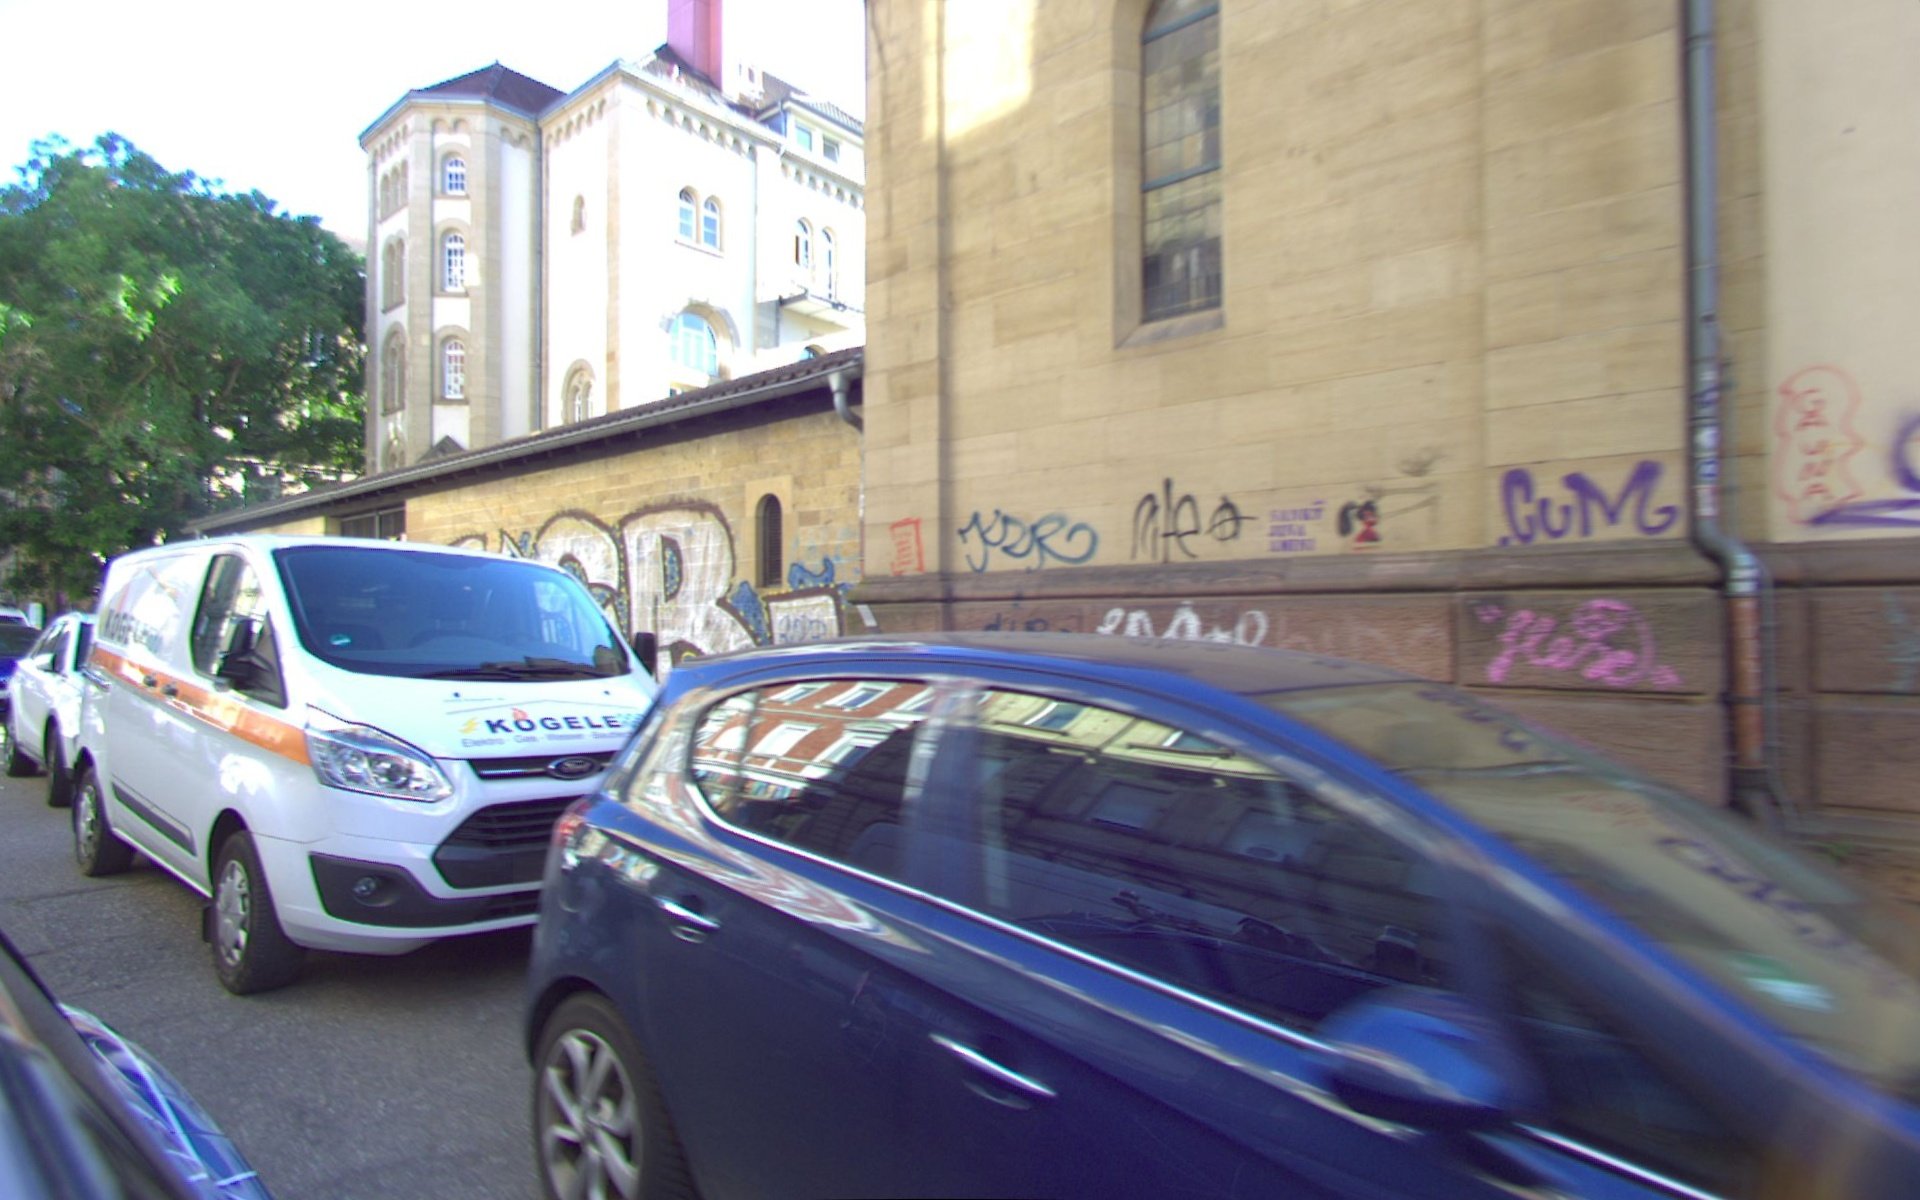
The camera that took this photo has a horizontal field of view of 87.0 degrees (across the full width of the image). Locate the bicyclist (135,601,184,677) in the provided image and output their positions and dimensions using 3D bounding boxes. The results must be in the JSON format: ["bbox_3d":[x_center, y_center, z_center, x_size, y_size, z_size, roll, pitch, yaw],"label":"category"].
[{"bbox_3d":[-18.968,0.907,23.982,0.795,1.736,0.693,-4,2,-41],"label":"bicyclist"}]

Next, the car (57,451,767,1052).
[{"bbox_3d":[-3.264,0.561,5.546,4.607,1.972,1.845,-1,-3,40],"label":"car"}]

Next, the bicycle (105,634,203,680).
[{"bbox_3d":[-19.034,1.319,23.911,1.740,0.930,0.827,-3,1,-41],"label":"bicycle"}]

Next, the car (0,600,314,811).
[{"bbox_3d":[-7.736,0.829,9.578,3.867,1.598,1.724,-1,-1,41],"label":"car"}]

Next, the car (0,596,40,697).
[{"bbox_3d":[-19.669,0.915,19.954,4.463,1.876,1.826,-2,-2,42],"label":"car"}]

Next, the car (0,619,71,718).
[{"bbox_3d":[-15.864,1.064,16.366,3.857,1.488,1.670,-2,-3,41],"label":"car"}]

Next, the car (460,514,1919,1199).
[{"bbox_3d":[0.707,0.702,1.980,3.948,1.463,1.598,-1,-3,41],"label":"car"}]

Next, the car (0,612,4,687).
[{"bbox_3d":[-23.393,1.130,23.083,4.284,1.659,1.723,-1,-2,39],"label":"car"}]
